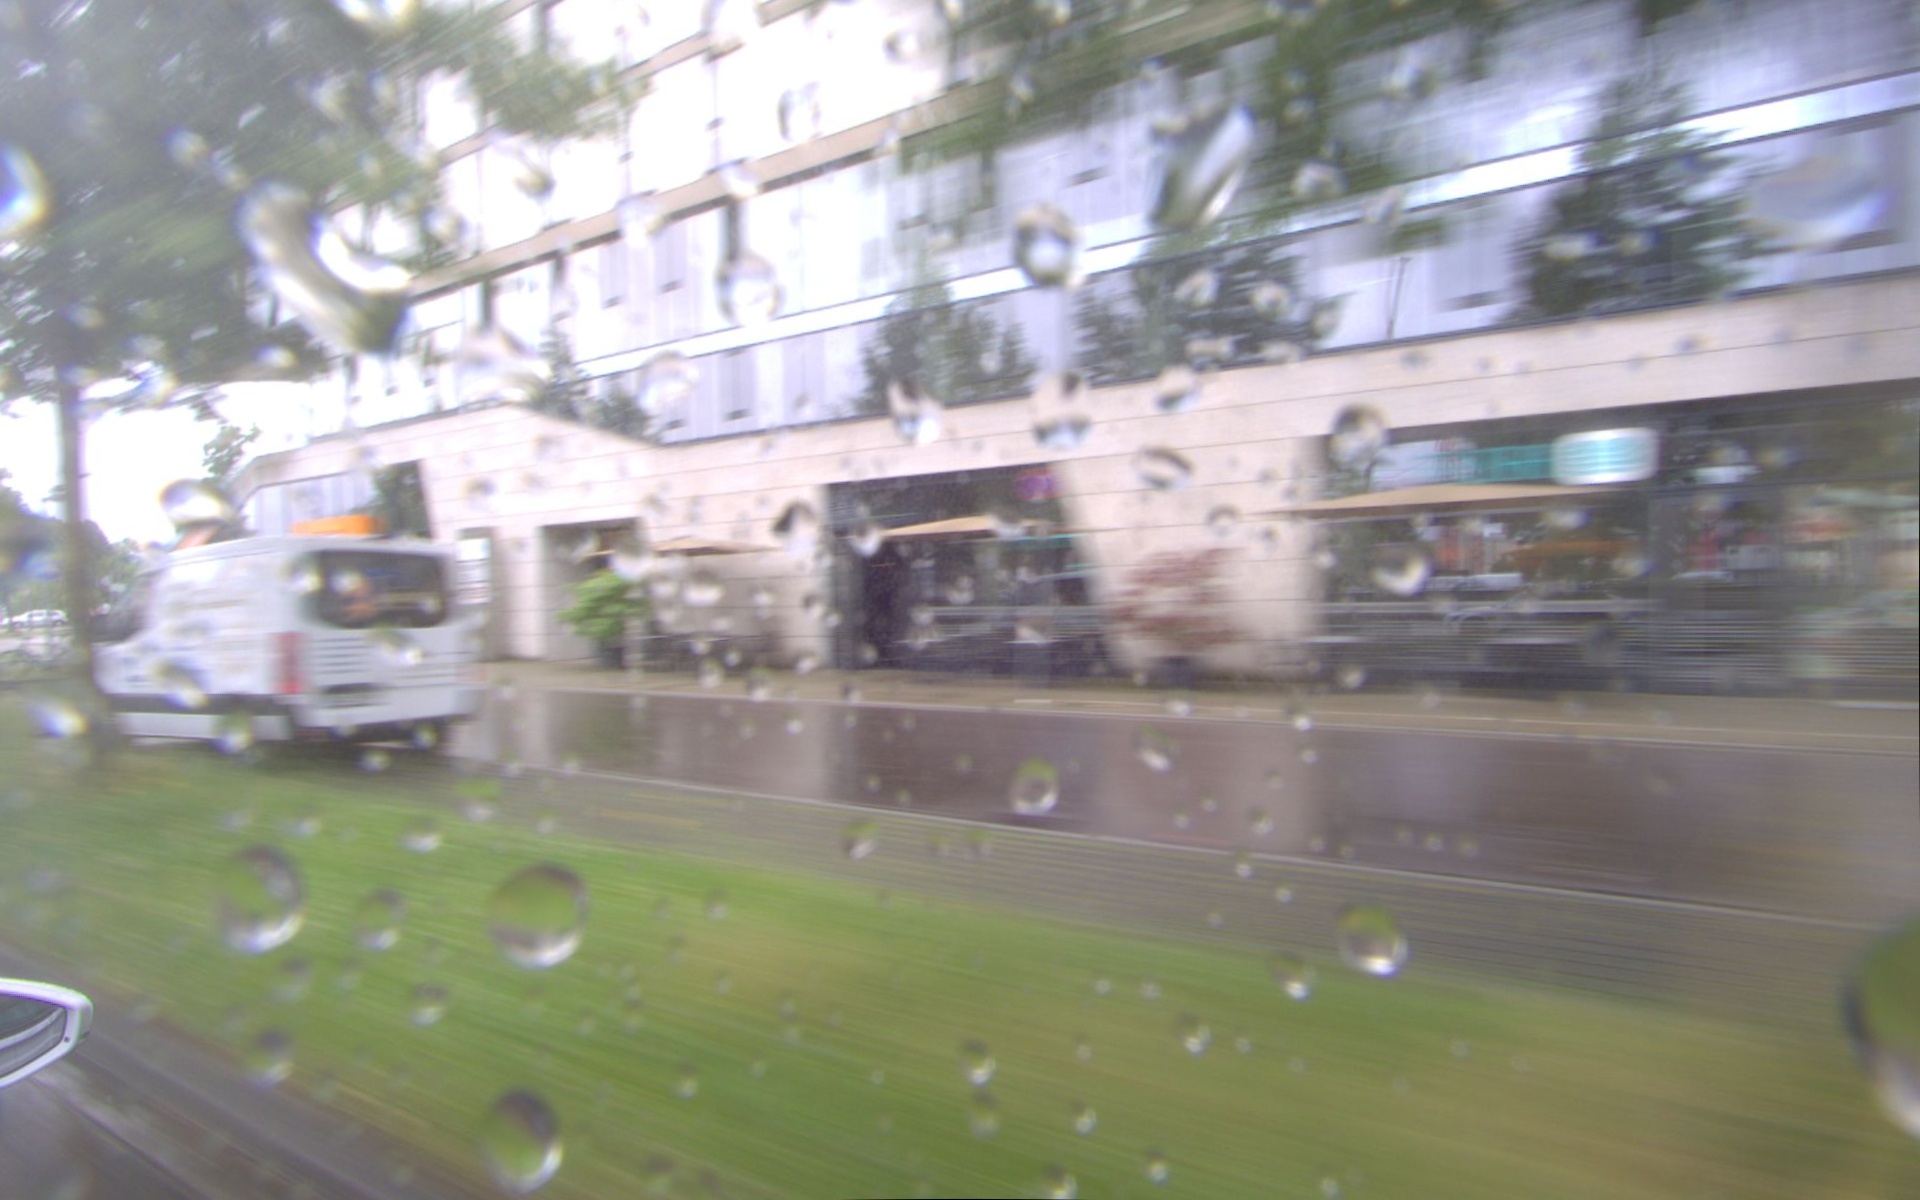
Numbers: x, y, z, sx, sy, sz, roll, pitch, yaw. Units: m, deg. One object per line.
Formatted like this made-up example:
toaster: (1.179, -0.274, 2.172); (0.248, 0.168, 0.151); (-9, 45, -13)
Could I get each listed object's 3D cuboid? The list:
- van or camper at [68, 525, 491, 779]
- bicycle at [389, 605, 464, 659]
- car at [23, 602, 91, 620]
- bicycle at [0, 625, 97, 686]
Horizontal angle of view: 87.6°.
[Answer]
van or camper: (-7.915, 0.527, 11.469); (5.382, 2.322, 2.021); (-1, 0, 32)
bicycle: (-14.432, 0.849, 27.058); (2.391, 1.420, 0.731); (0, -1, 34)
car: (-75.401, 0.895, 83.680); (1.600, 1.473, 3.965); (0, 1, 33)
bicycle: (-21.577, 1.288, 23.569); (1.823, 1.364, 0.529); (0, 1, -32)
